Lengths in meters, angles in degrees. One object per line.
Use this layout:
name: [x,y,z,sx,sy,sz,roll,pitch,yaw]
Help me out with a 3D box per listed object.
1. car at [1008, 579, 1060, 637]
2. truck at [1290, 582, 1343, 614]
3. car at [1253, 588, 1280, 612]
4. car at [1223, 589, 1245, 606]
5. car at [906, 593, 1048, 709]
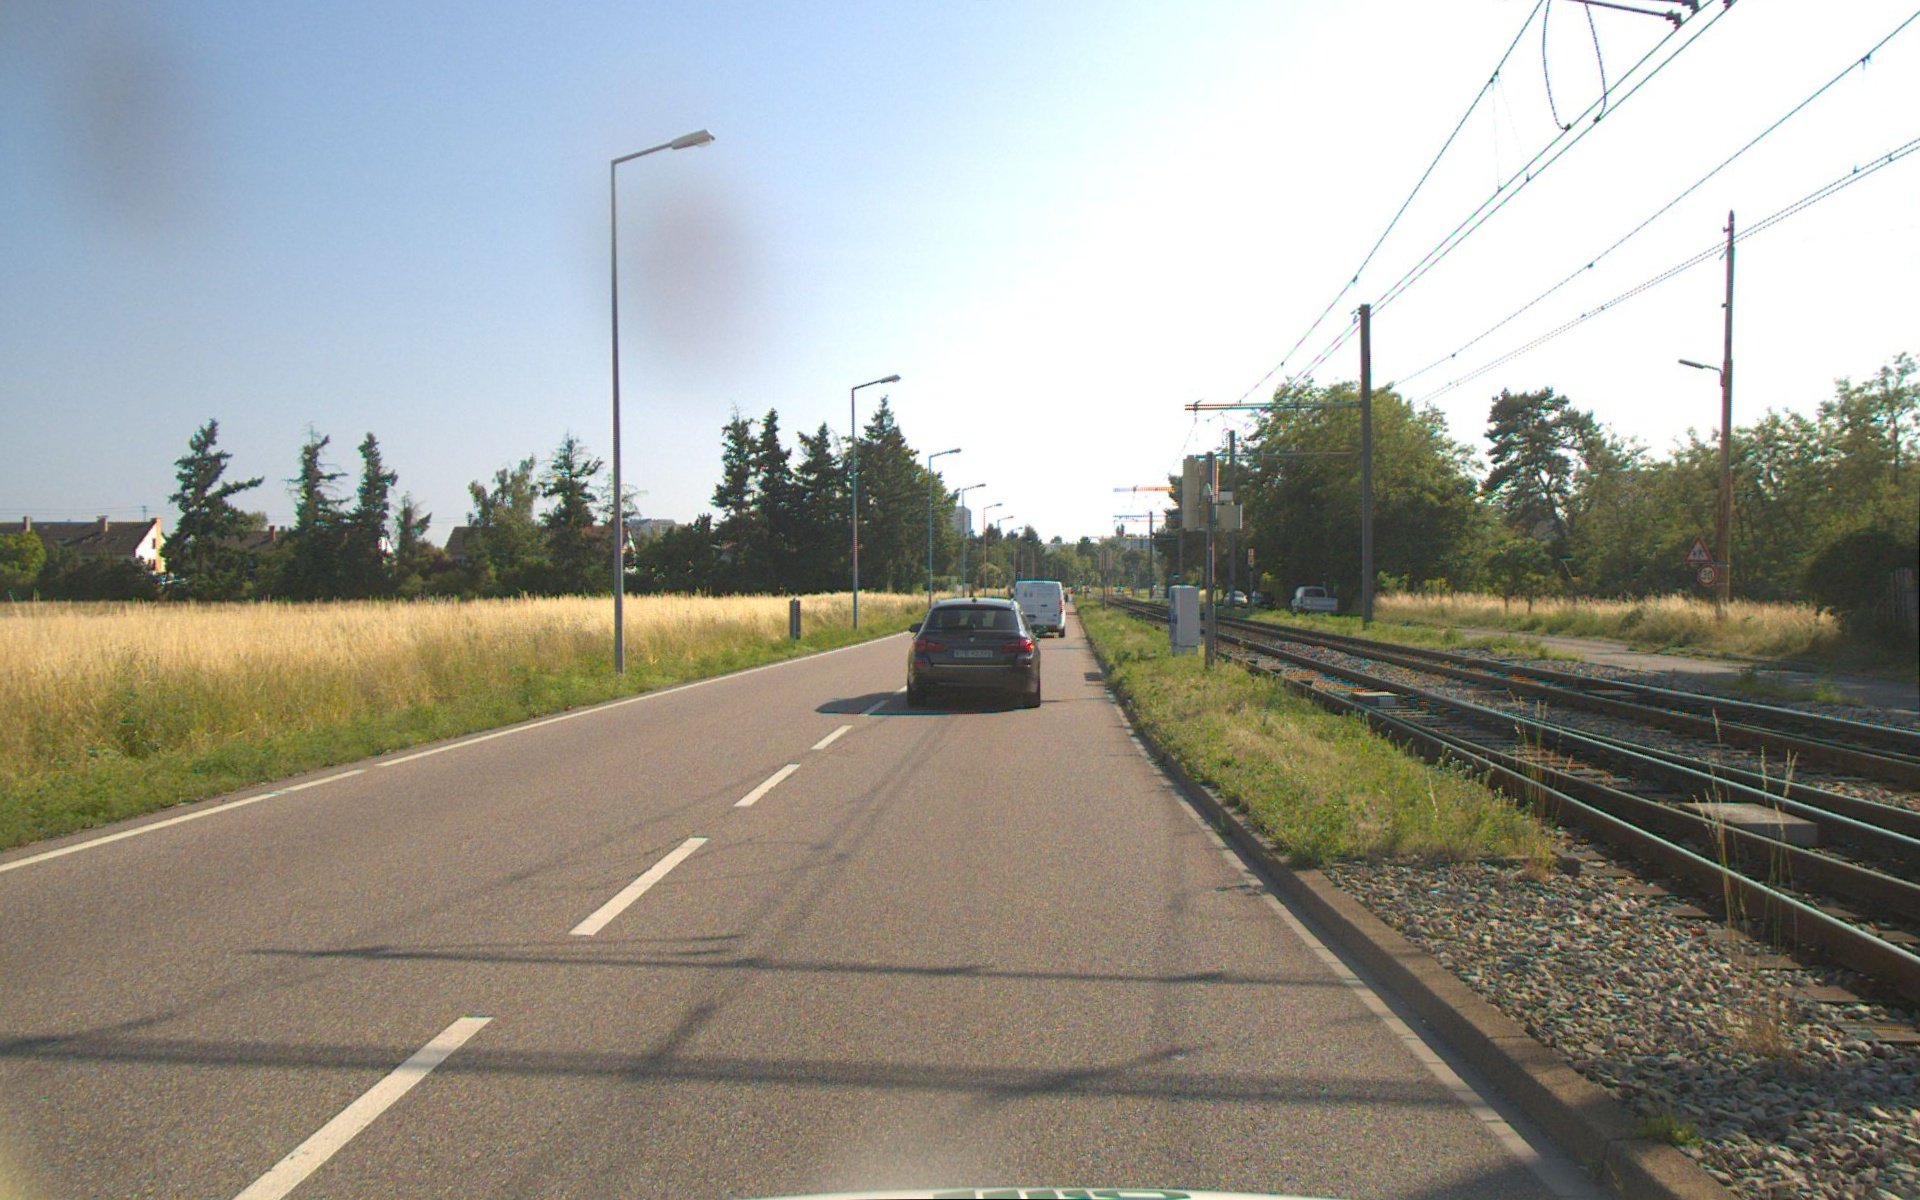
car: [2.689,0.238,60.698,1.819,2.022,5.110,0,1,2]
truck: [21.182,-0.150,98.429,2.158,1.851,5.932,0,0,3]
car: [23.378,-0.004,126.270,1.698,1.709,3.546,1,-1,6]
car: [23.906,-0.211,144.475,1.587,1.423,3.491,1,-1,4]
car: [0.295,0.651,23.872,1.830,1.478,4.745,1,0,2]
